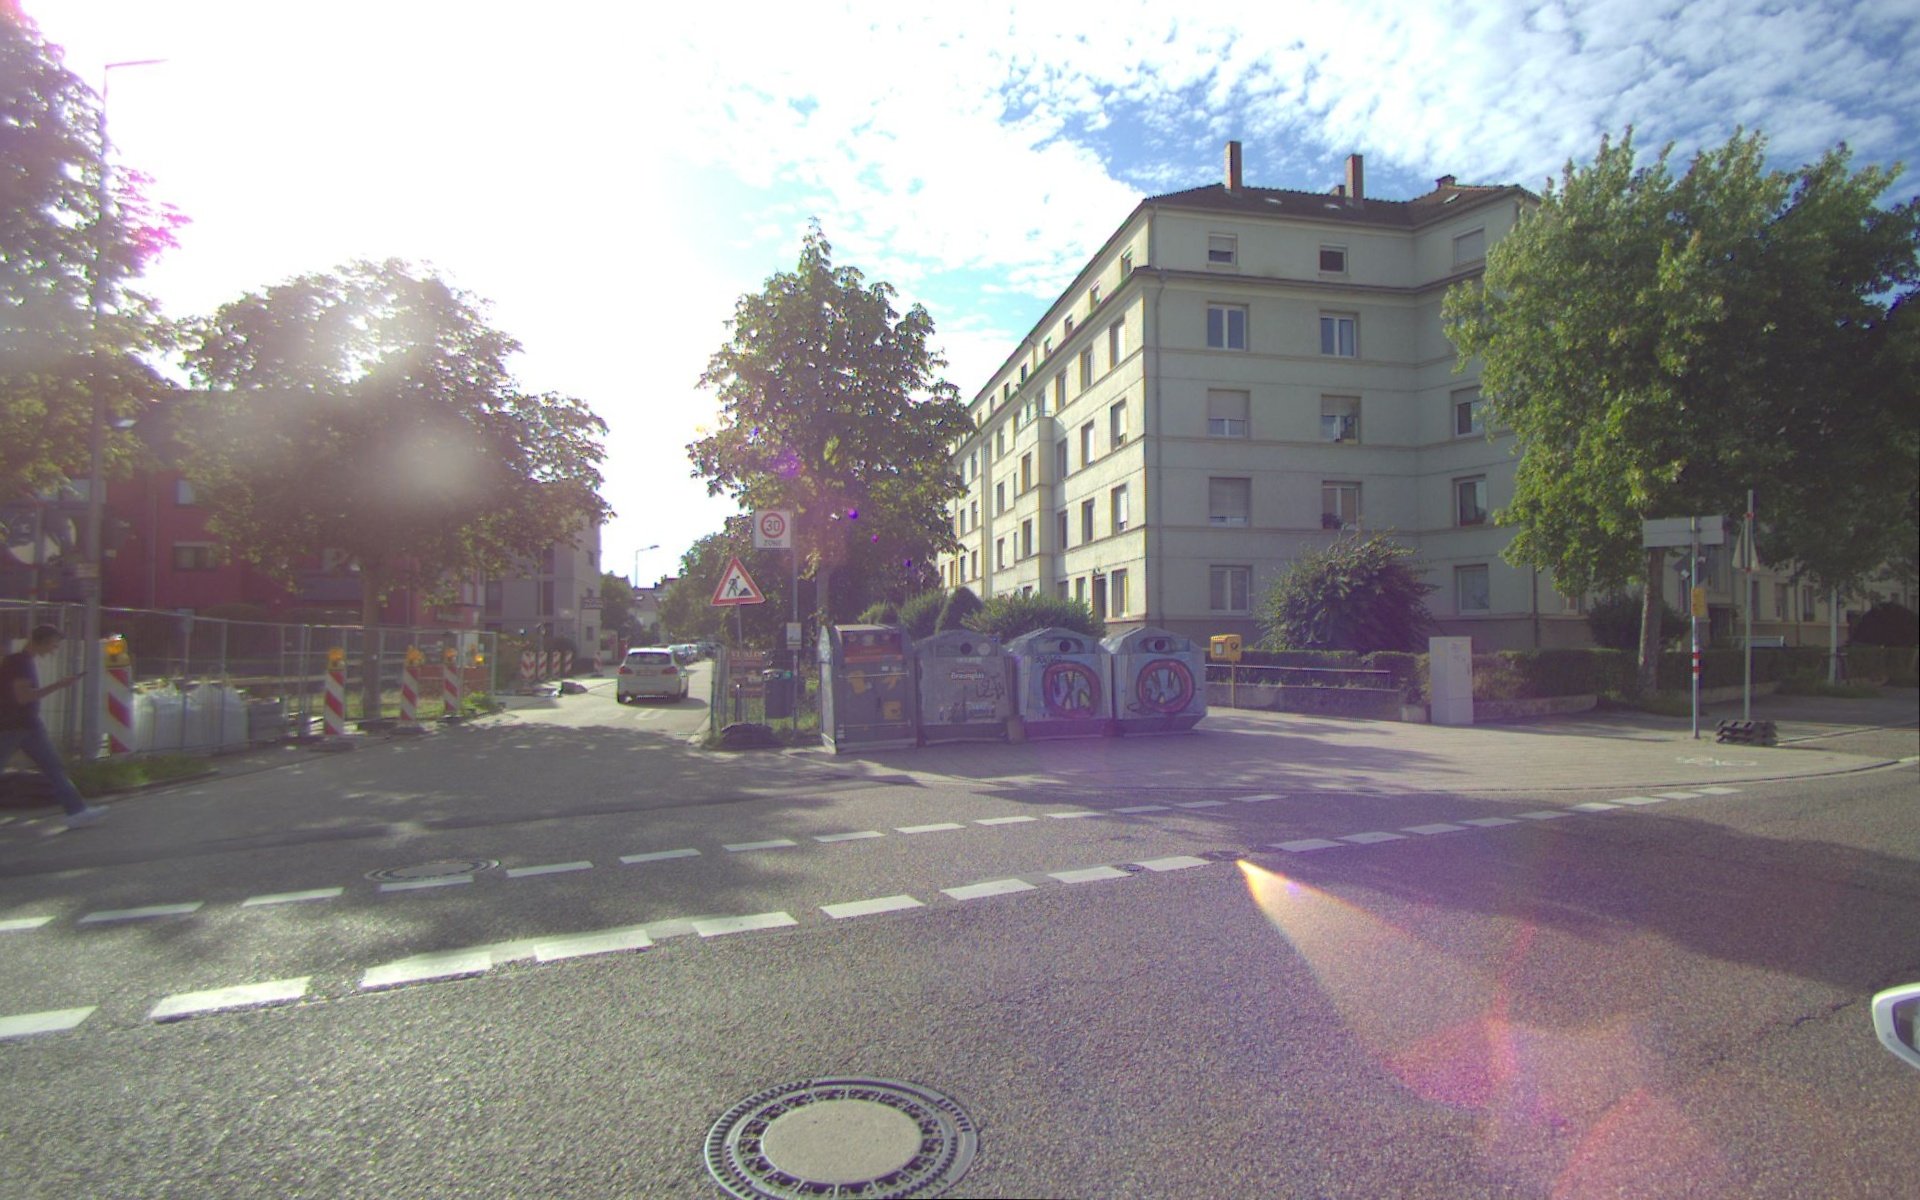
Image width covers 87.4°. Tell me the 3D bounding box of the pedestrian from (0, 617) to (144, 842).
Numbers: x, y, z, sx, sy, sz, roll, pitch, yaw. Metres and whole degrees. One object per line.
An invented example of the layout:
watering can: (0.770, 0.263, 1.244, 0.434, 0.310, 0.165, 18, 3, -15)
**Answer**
pedestrian: (-7.605, 1.030, 8.352, 1.170, 1.750, 0.998, 3, -3, -42)

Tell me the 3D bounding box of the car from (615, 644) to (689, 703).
car: (-9.221, 2.157, 30.334, 1.967, 1.575, 4.261, 1, -2, -15)

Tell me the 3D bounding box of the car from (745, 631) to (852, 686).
car: (-6.288, 2.251, 38.916, 3.933, 2.040, 1.994, 0, -3, -15)

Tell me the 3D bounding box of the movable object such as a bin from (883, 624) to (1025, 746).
movable object such as a bin: (-0.186, 1.275, 16.067, 1.522, 1.730, 3.104, 1, -2, -15)

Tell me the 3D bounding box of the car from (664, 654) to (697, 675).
car: (-21.685, 4.963, 77.933, 1.963, 1.550, 3.996, 0, -3, -8)

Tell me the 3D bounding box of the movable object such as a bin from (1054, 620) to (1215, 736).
movable object such as a bin: (2.784, 1.216, 16.591, 1.387, 1.730, 3.103, 1, -2, -16)
